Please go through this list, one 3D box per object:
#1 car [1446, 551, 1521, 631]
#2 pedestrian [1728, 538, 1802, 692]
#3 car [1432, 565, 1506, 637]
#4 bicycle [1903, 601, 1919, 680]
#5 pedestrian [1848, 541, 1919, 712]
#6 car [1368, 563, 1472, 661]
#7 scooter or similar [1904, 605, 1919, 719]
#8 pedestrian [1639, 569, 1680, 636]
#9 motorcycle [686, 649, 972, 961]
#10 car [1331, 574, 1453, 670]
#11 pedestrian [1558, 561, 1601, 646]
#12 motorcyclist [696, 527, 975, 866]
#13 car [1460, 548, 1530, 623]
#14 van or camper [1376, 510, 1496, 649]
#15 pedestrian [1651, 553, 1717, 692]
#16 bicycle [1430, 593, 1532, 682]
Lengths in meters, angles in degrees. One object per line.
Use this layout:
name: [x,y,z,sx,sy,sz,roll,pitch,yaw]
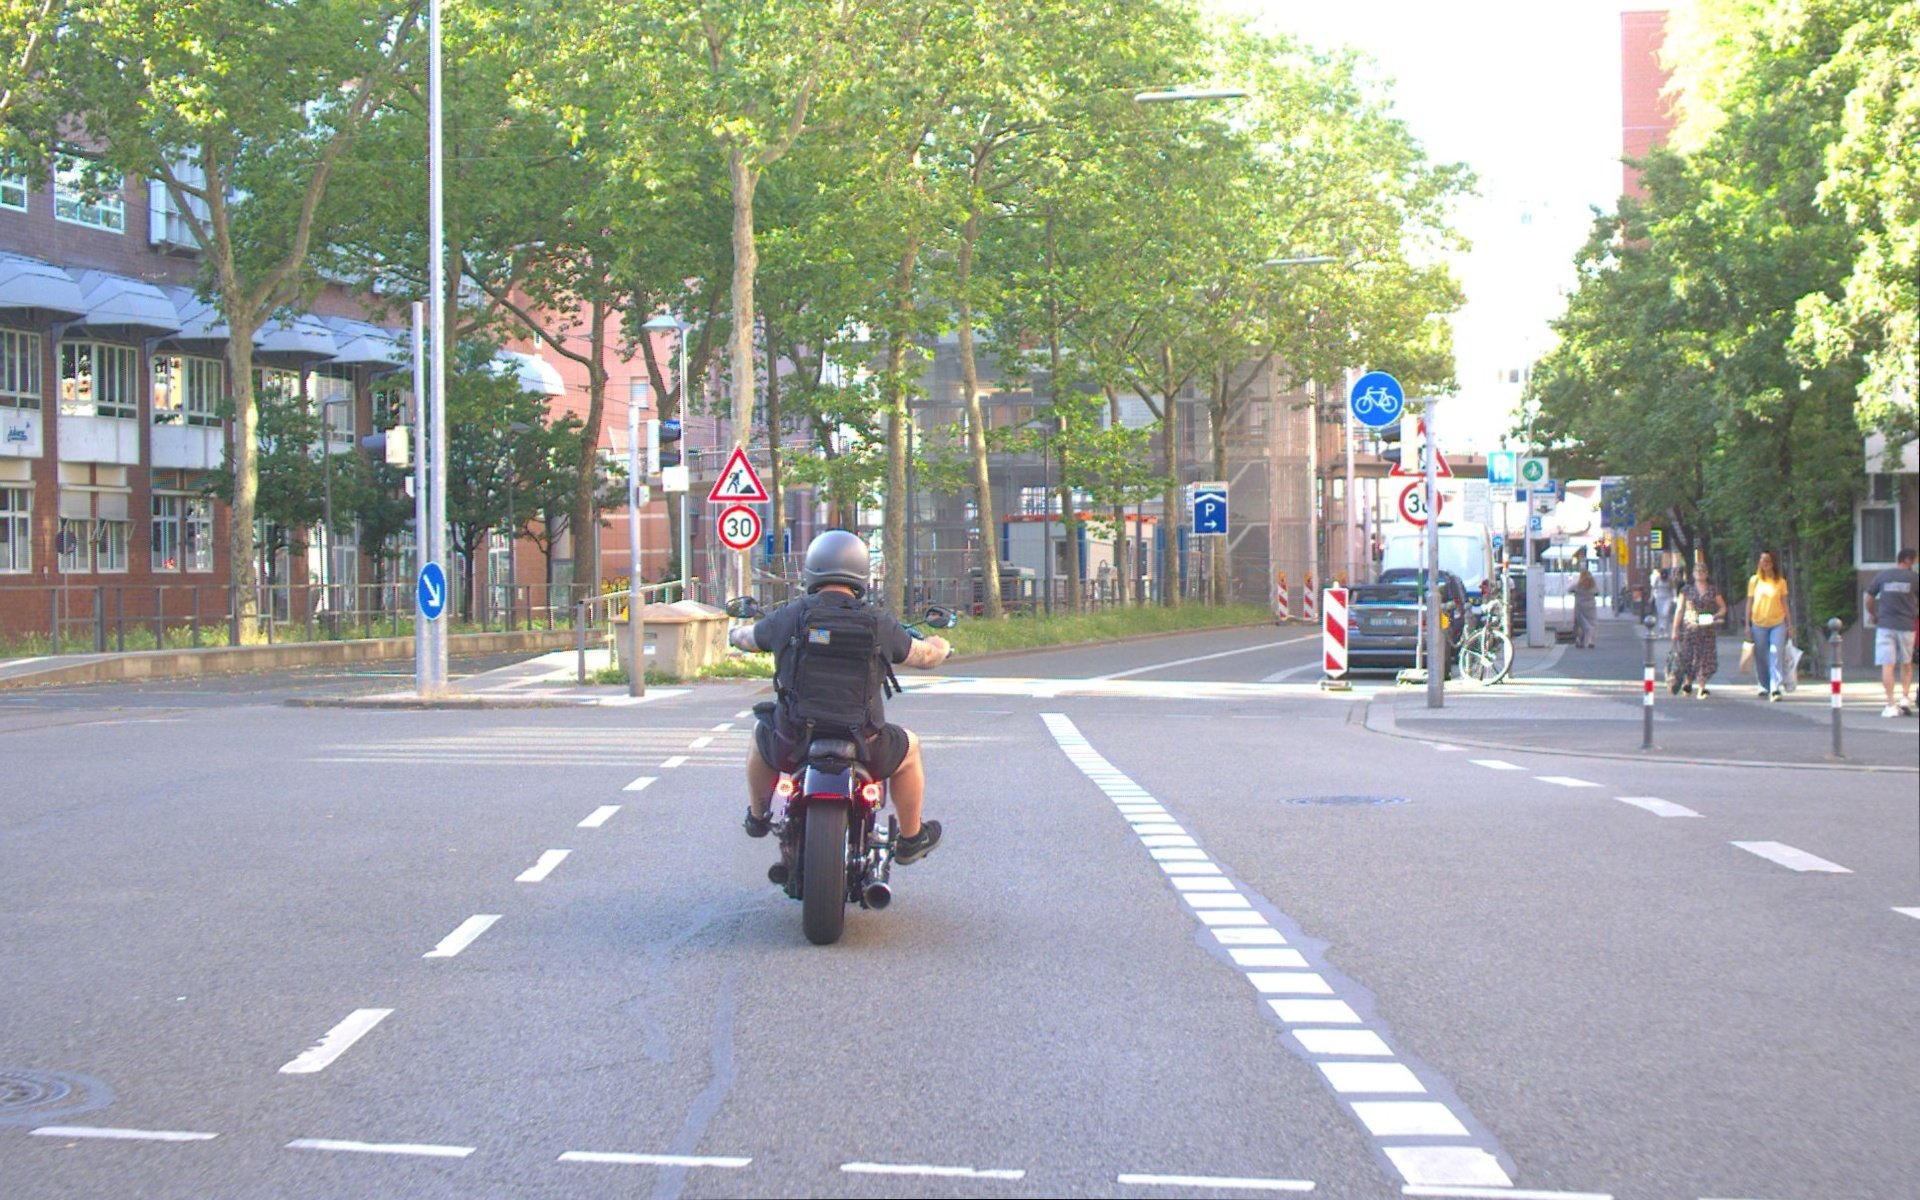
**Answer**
car: [13.549,-0.258,88.870,1.836,2.007,4.386,0,0,9]
pedestrian: [9.140,0.169,39.048,0.700,1.727,0.767,0,0,4]
car: [11.614,0.007,78.522,1.621,1.604,3.773,0,0,8]
bicycle: [11.898,0.488,41.357,0.737,0.936,1.752,0,1,4]
pedestrian: [9.618,0.269,35.515,0.786,1.757,0.609,0,0,9]
car: [7.959,0.174,59.260,1.621,1.614,4.483,0,0,10]
scooter or similar: [10.055,0.637,35.488,0.394,1.154,1.249,0,1,6]
pedestrian: [15.139,0.053,74.403,0.765,1.440,0.780,1,0,4]
motorcycle: [-0.479,0.771,13.687,1.018,1.093,2.007,0,1,1]
car: [6.231,0.291,49.346,1.621,1.298,4.310,0,1,9]
pedestrian: [12.035,0.067,66.787,0.762,1.639,0.547,0,0,3]
motorcyclist: [-0.474,0.361,13.475,1.011,1.258,0.774,2,1,1]
car: [14.797,-0.418,94.942,1.836,2.007,4.386,0,0,9]
van or camper: [9.139,-0.398,65.685,2.049,2.532,5.770,0,0,10]
pedestrian: [8.301,0.253,39.430,0.644,1.573,0.748,0,0,4]
bicycle: [6.380,0.449,42.168,0.737,1.049,1.752,0,1,-9]
